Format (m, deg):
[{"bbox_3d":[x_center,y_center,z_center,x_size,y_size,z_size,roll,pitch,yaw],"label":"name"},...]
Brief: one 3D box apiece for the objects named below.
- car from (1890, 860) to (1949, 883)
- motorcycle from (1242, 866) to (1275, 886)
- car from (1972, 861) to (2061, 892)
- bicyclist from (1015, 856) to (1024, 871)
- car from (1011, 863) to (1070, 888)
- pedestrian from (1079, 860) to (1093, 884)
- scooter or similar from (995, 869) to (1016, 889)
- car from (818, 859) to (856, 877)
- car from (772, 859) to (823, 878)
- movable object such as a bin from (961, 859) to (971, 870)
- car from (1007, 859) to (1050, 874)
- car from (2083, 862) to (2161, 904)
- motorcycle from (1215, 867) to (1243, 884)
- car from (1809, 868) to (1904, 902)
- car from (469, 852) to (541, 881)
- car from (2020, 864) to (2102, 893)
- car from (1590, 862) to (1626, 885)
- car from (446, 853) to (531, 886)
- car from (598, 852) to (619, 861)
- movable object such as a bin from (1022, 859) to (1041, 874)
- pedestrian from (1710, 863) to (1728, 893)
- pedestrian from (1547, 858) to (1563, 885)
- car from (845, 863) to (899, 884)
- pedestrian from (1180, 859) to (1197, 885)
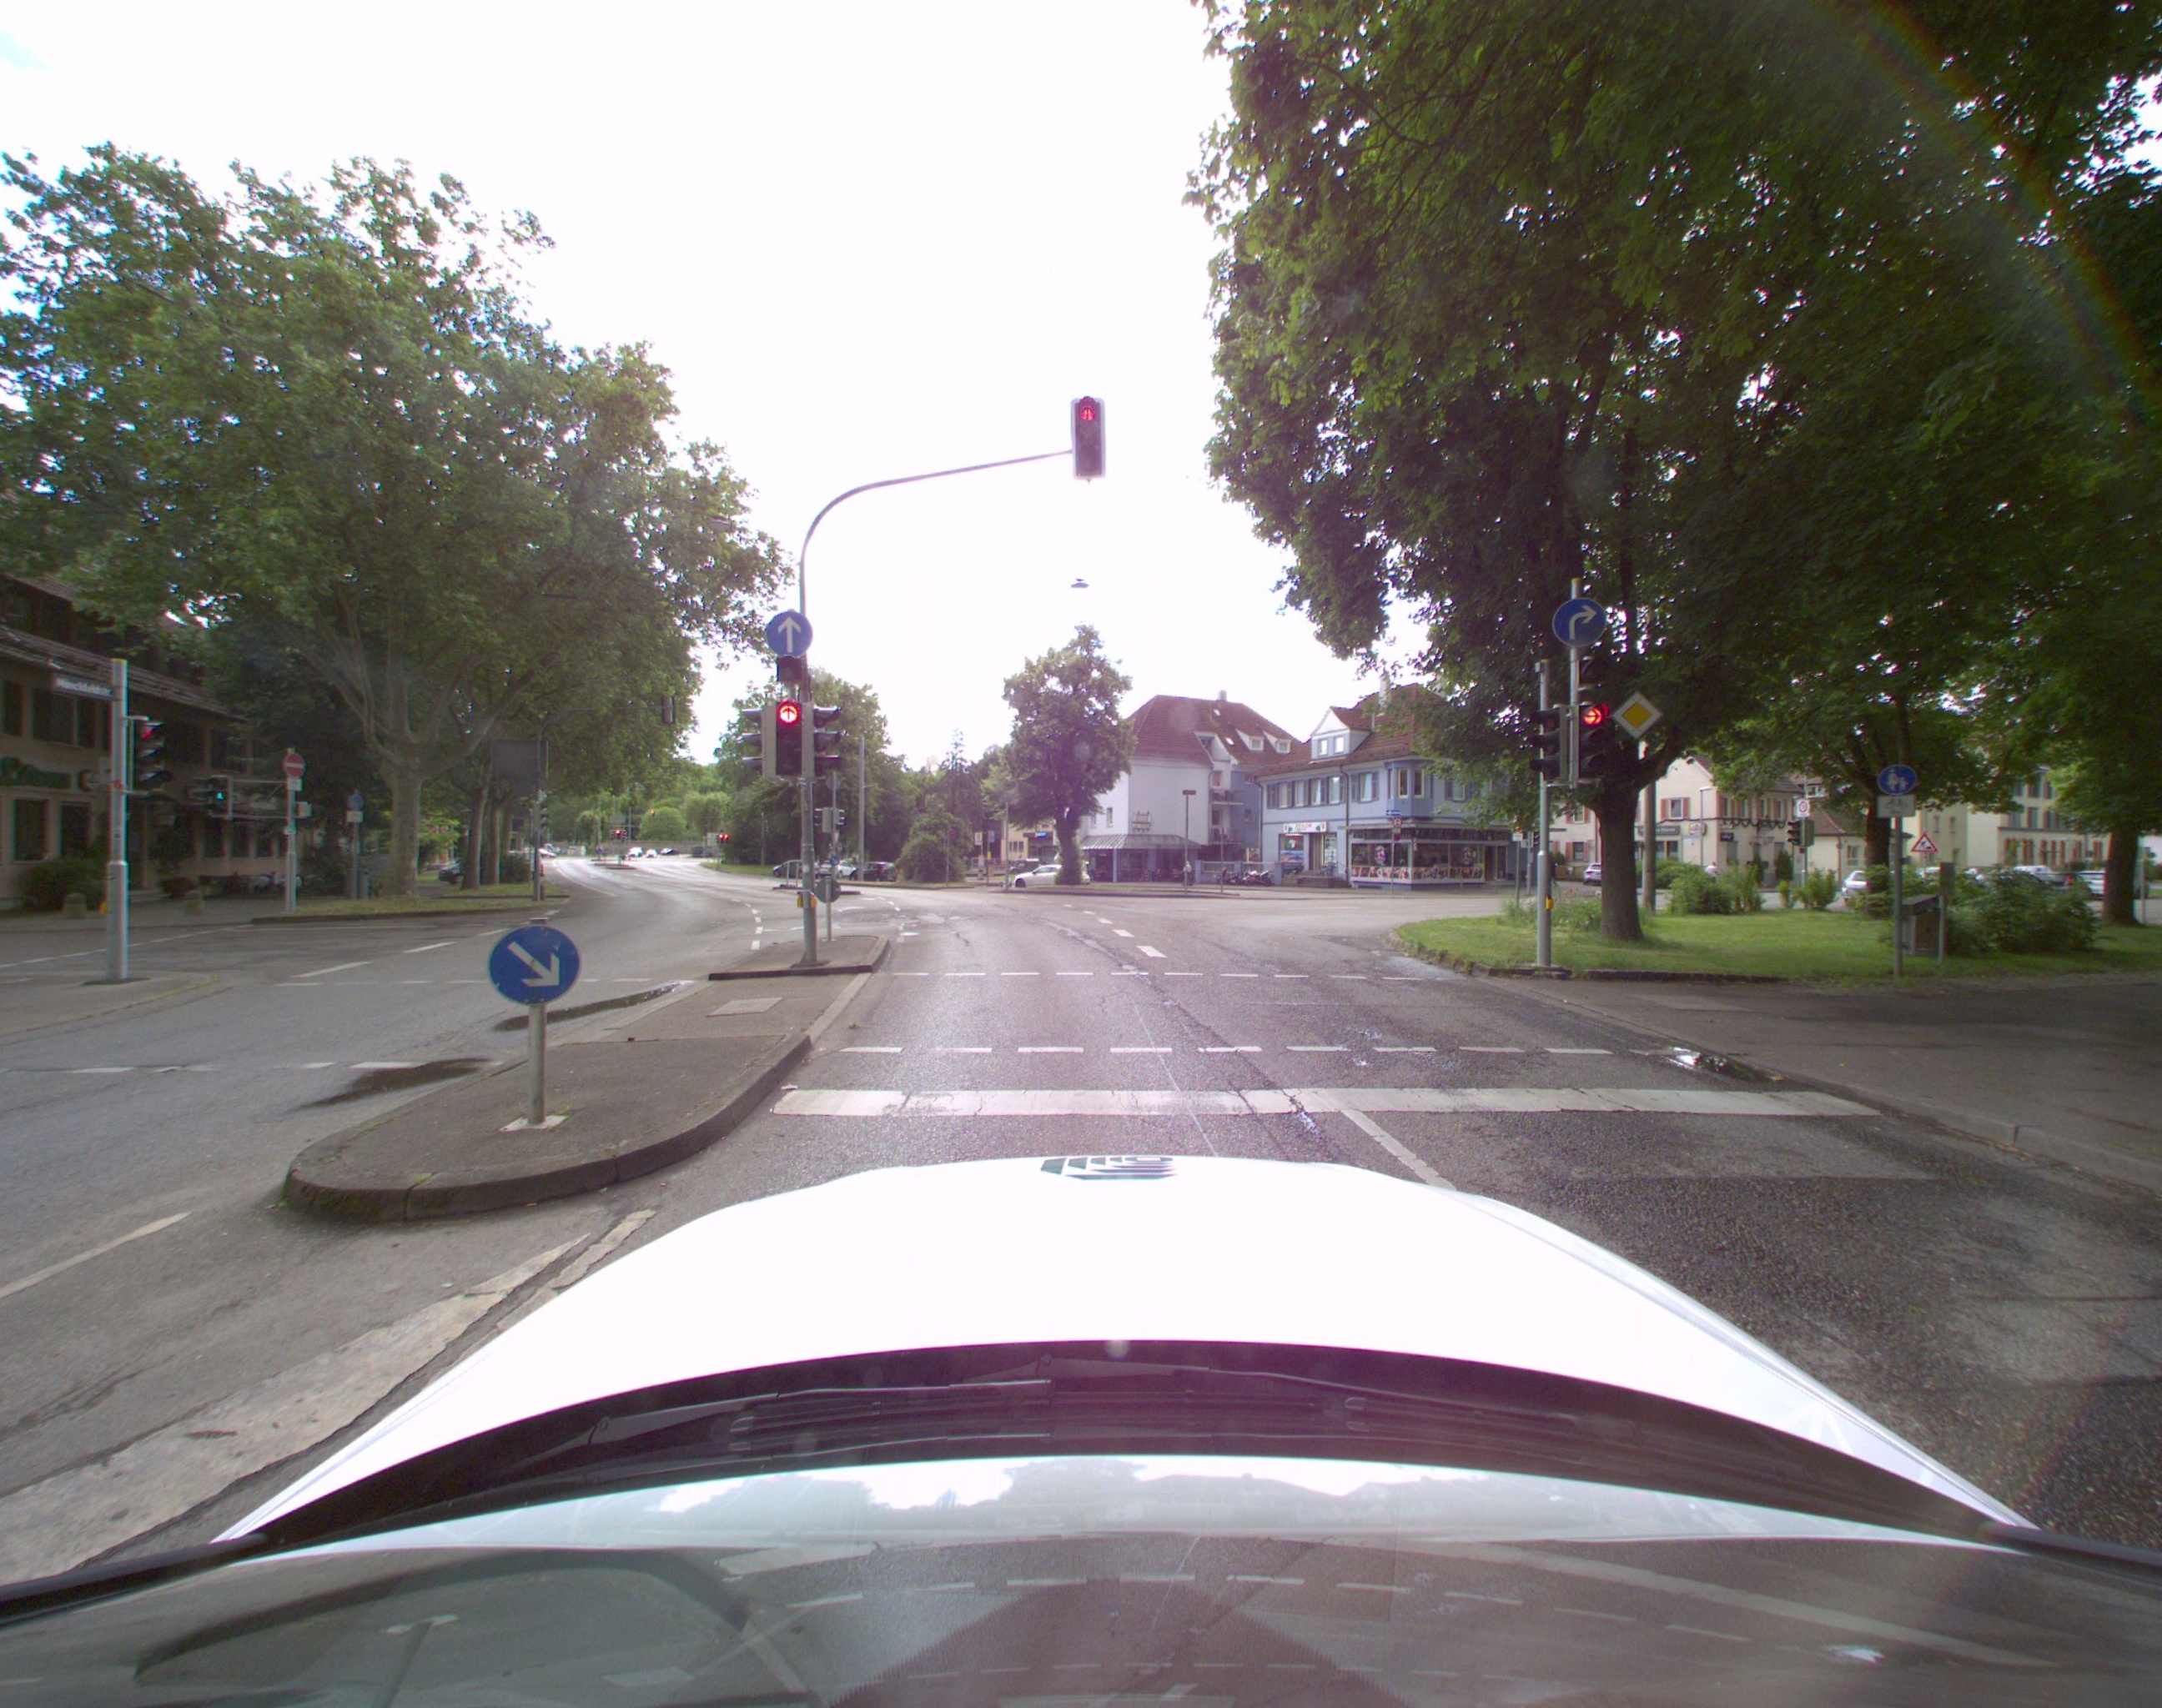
[{"bbox_3d":[55.115,1.132,53.535,4.007,1.420,1.544,0,0,-26],"label":"car"},{"bbox_3d":[10.534,1.290,48.264,1.777,1.121,0.699,0,-1,40],"label":"motorcycle"},{"bbox_3d":[42.217,0.979,36.755,3.510,1.321,1.549,0,0,-21],"label":"car"},{"bbox_3d":[-6.399,1.020,84.839,0.603,1.541,0.731,0,-1,-44],"label":"bicyclist"},{"bbox_3d":[-2.308,1.204,46.238,3.134,1.354,1.448,0,-1,36],"label":"car"},{"bbox_3d":[0.327,1.189,54.532,0.699,1.545,0.682,-1,-1,42],"label":"pedestrian"},{"bbox_3d":[-3.977,1.292,42.881,0.413,1.011,1.575,-1,-1,22],"label":"scooter or similar"},{"bbox_3d":[-20.082,1.134,67.184,1.534,1.464,3.407,0,0,13],"label":"car"},{"bbox_3d":[-22.441,1.117,64.482,3.520,1.464,1.591,0,0,14],"label":"car"},{"bbox_3d":[-12.226,1.124,86.637,0.953,1.115,0.381,0,-1,-19],"label":"movable object such as a bin"},{"bbox_3d":[-4.885,1.139,76.155,3.752,1.345,1.422,0,0,-25],"label":"car"},{"bbox_3d":[52.831,1.439,41.130,4.004,2.014,1.770,0,-1,-23],"label":"car"},{"bbox_3d":[9.113,1.317,50.078,0.699,1.064,1.617,0,-1,-44],"label":"motorcycle"},{"bbox_3d":[31.964,1.254,33.571,3.511,1.321,1.549,0,0,-22],"label":"car"},{"bbox_3d":[-35.485,0.758,50.279,3.461,1.742,1.557,0,-1,-31],"label":"car"},{"bbox_3d":[47.004,1.170,39.063,3.511,1.321,1.549,0,0,-22],"label":"car"},{"bbox_3d":[32.602,1.188,50.343,1.481,1.369,3.198,-1,-1,40],"label":"car"},{"bbox_3d":[-31.001,0.785,42.714,3.461,1.641,1.557,0,-1,-31],"label":"car"},{"bbox_3d":[-106.192,0.500,183.015,4.011,2.014,1.981,0,-1,-29],"label":"car"},{"bbox_3d":[-4.527,1.137,74.247,1.447,1.409,0.959,0,-1,-25],"label":"movable object such as a bin"},{"bbox_3d":[35.421,1.317,45.208,0.611,1.649,0.606,0,-1,-27],"label":"pedestrian"},{"bbox_3d":[27.207,0.996,46.744,0.459,1.517,0.584,0,-1,-18],"label":"pedestrian"},{"bbox_3d":[-13.908,1.269,54.203,3.549,1.394,1.481,0,-1,34],"label":"car"},{"bbox_3d":[6.610,1.108,50.120,0.759,1.545,0.682,-1,-1,41],"label":"pedestrian"}]
